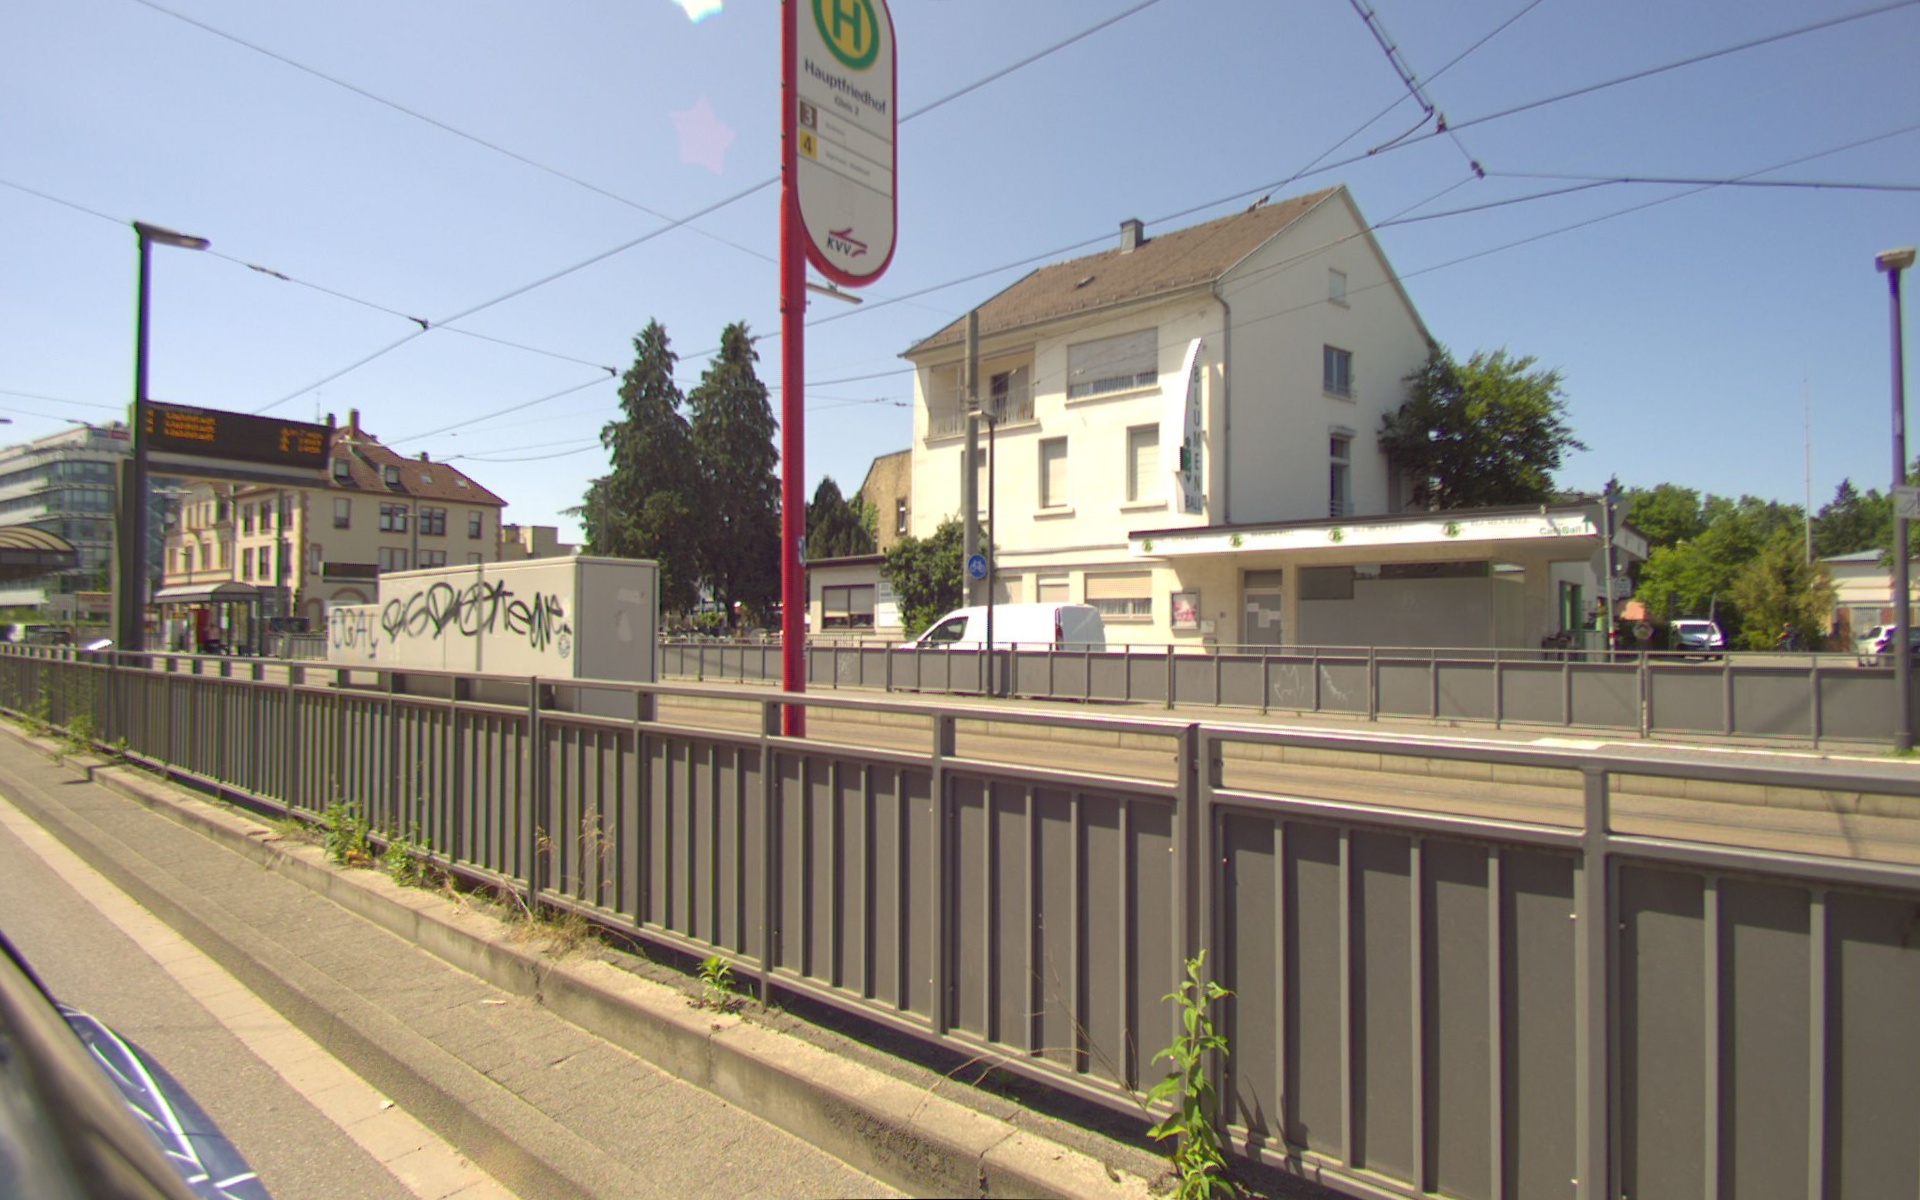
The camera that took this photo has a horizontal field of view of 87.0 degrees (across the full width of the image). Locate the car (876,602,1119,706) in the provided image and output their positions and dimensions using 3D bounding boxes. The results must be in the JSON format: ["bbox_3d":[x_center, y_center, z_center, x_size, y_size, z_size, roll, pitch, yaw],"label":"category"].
[{"bbox_3d":[0.645,1.028,19.962,4.695,1.831,1.836,-2,-3,41],"label":"car"}]

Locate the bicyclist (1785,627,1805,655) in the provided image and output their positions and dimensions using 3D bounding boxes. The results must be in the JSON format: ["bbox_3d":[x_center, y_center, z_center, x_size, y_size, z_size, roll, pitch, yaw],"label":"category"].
[{"bbox_3d":[43.447,2.118,52.668,0.612,1.446,0.531,1,-2,-24],"label":"bicyclist"}]

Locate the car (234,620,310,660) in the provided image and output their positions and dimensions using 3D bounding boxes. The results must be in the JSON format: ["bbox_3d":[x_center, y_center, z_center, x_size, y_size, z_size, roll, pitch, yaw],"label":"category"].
[{"bbox_3d":[-33.275,1.894,48.950,3.996,1.852,1.974,-2,-2,39],"label":"car"}]

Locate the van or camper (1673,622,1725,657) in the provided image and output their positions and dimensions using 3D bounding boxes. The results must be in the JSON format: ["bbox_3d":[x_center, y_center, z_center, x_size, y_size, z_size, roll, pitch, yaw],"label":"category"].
[{"bbox_3d":[34.831,1.852,47.760,1.686,1.578,3.784,-1,-2,32],"label":"van or camper"}]

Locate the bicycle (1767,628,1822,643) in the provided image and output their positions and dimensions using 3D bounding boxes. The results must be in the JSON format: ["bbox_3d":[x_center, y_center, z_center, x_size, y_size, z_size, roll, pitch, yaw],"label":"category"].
[{"bbox_3d":[43.433,1.853,52.699,0.608,0.793,2.201,1,-2,-22],"label":"bicycle"}]

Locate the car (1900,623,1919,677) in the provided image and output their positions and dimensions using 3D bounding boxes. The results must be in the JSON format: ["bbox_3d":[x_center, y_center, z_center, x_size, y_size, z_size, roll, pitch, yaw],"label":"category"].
[{"bbox_3d":[25.790,1.320,26.480,1.644,1.381,3.760,-2,-3,42],"label":"car"}]

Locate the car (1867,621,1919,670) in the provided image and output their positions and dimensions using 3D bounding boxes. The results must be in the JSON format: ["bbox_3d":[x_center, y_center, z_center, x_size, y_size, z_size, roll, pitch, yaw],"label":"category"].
[{"bbox_3d":[29.470,1.432,31.564,1.644,1.457,3.761,-2,-3,41],"label":"car"}]
